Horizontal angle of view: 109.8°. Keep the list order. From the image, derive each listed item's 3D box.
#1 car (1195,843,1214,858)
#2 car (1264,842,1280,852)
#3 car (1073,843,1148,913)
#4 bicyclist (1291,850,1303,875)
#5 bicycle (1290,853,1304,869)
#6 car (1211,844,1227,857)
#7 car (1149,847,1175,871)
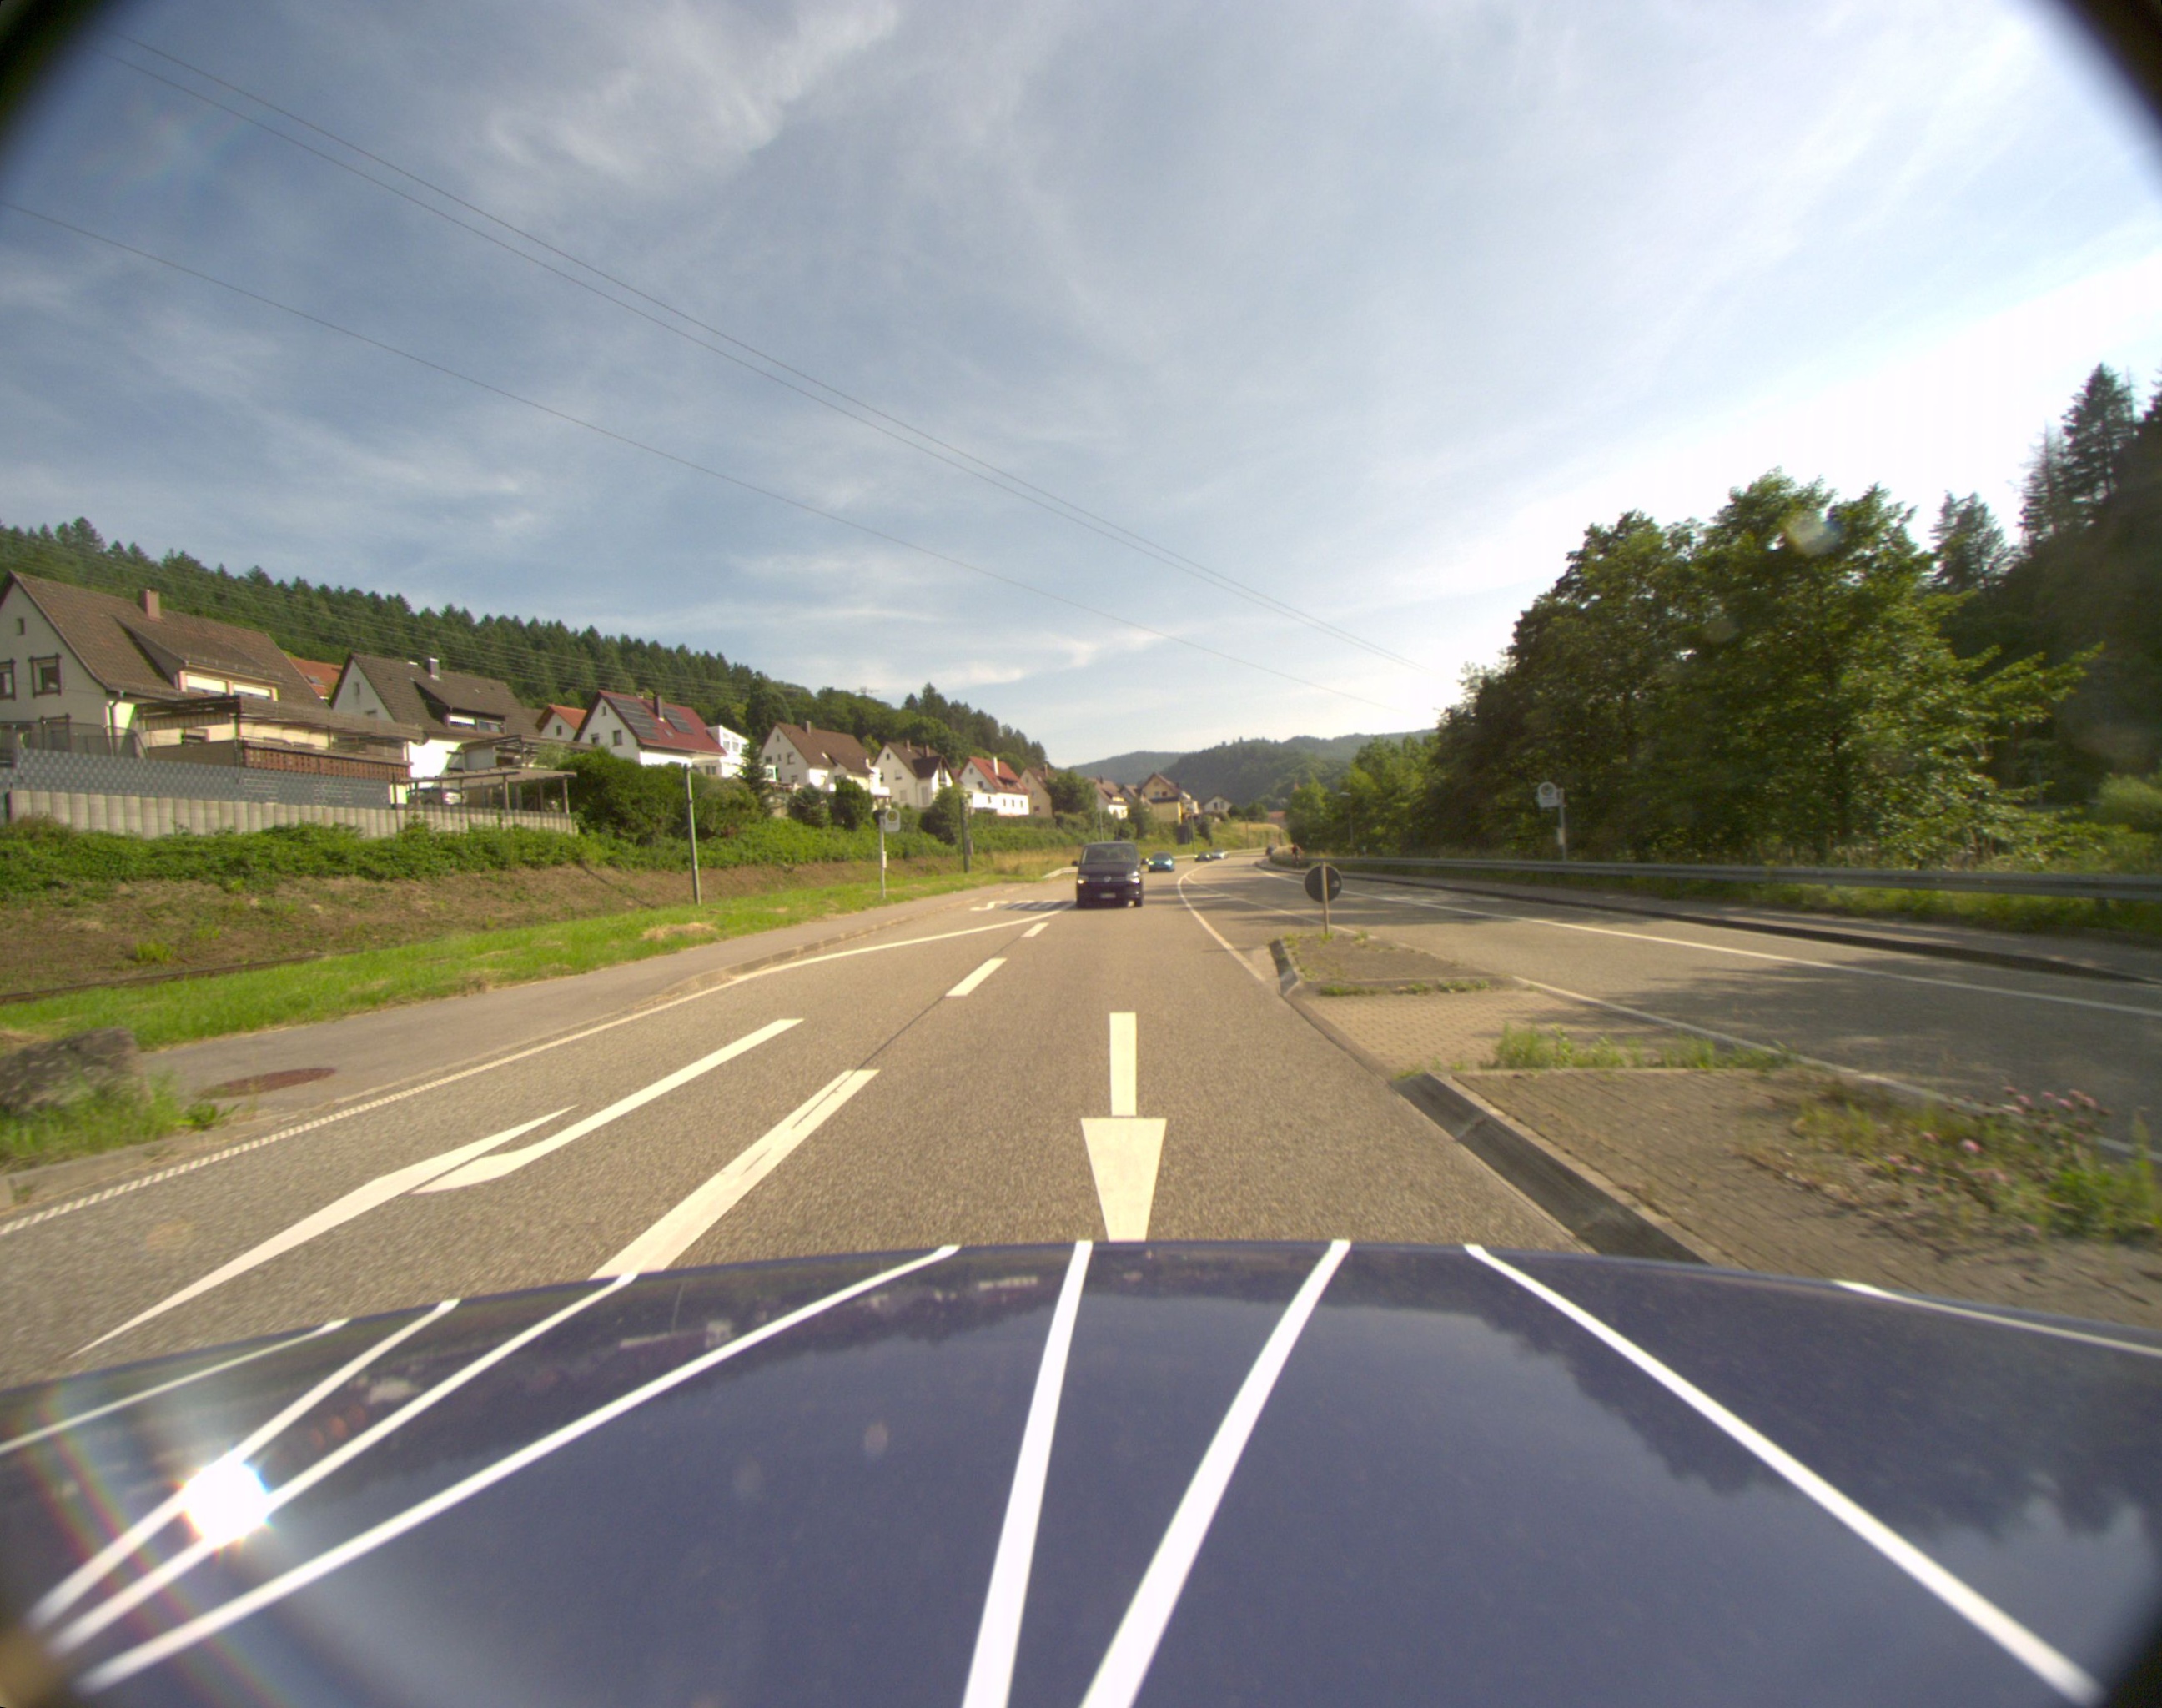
[{"bbox_3d":[15.173,-0.428,92.913,1.883,1.735,4.183,-2,0,14],"label":"car"},{"bbox_3d":[32.528,-1.165,129.323,1.892,1.480,4.005,-3,1,24],"label":"car"},{"bbox_3d":[0.983,0.657,23.124,2.017,1.905,4.313,-2,0,5],"label":"car"},{"bbox_3d":[14.387,0.554,50.635,0.558,1.577,1.036,-6,-1,9],"label":"bicyclist"},{"bbox_3d":[14.423,0.469,50.788,0.558,1.039,2.231,-6,-1,9],"label":"bicycle"},{"bbox_3d":[19.556,-0.500,107.389,1.883,1.735,4.183,-2,0,15],"label":"car"},{"bbox_3d":[6.274,0.346,58.879,1.884,1.735,4.180,-1,1,6],"label":"car"}]
